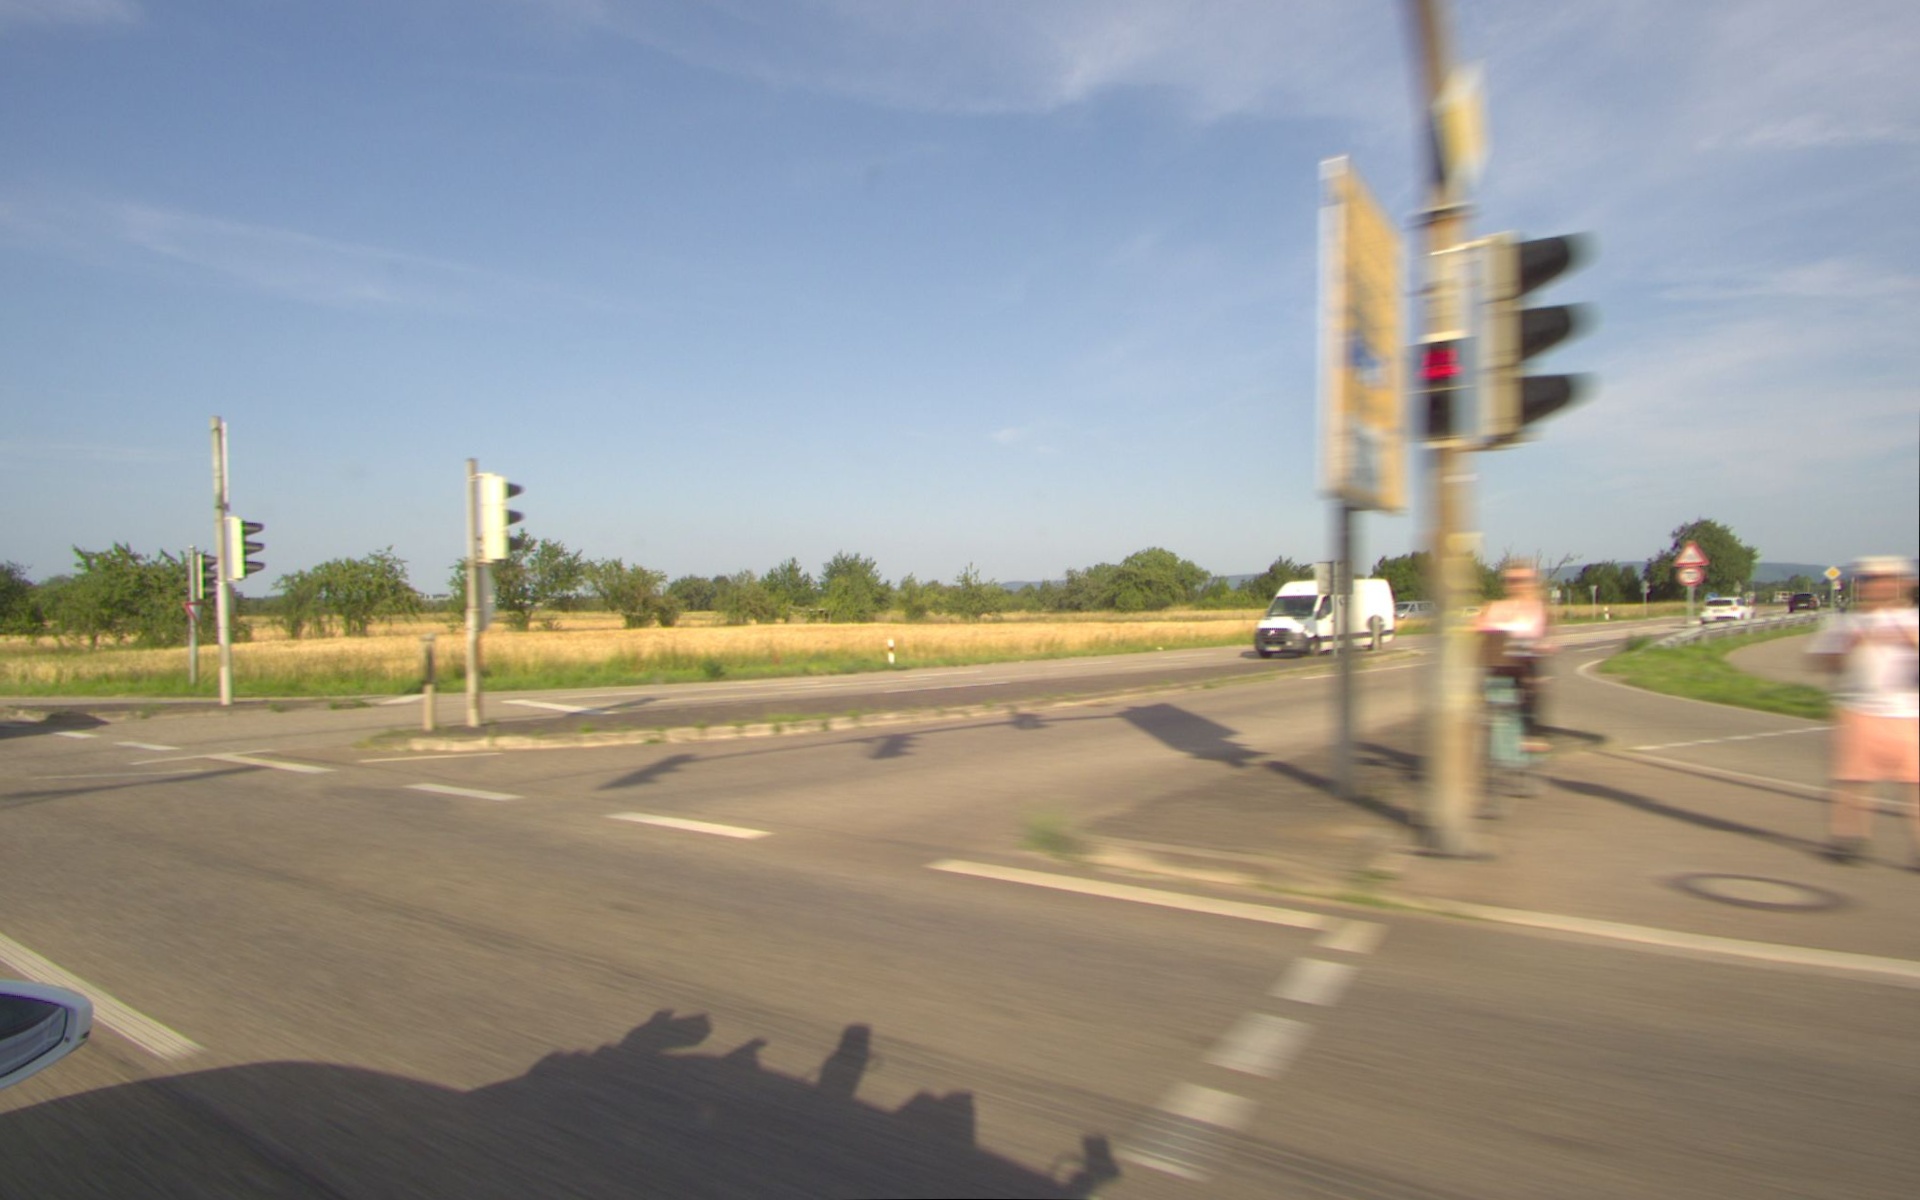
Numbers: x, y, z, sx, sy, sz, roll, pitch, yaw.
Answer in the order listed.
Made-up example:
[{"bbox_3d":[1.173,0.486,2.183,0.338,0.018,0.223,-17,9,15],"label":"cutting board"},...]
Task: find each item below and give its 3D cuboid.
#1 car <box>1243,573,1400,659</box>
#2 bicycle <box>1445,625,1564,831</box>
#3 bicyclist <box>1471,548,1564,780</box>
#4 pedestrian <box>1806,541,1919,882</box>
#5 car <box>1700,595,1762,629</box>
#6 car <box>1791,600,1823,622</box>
[{"bbox_3d":[12.657,0.521,34.715,7.142,2.704,2.073,0,-1,-43],"label":"car"},{"bbox_3d":[3.993,0.846,7.280,0.522,1.306,1.848,-1,-2,36],"label":"bicycle"},{"bbox_3d":[4.152,0.463,7.454,0.498,1.633,0.556,-1,-1,39],"label":"bicyclist"},{"bbox_3d":[5.112,0.591,5.552,0.592,1.774,0.618,-1,-1,44],"label":"pedestrian"},{"bbox_3d":[40.637,0.656,52.758,3.955,1.683,1.720,1,-2,-39],"label":"car"},{"bbox_3d":[70.407,0.976,83.230,3.729,1.739,1.746,2,-2,-45],"label":"car"}]
